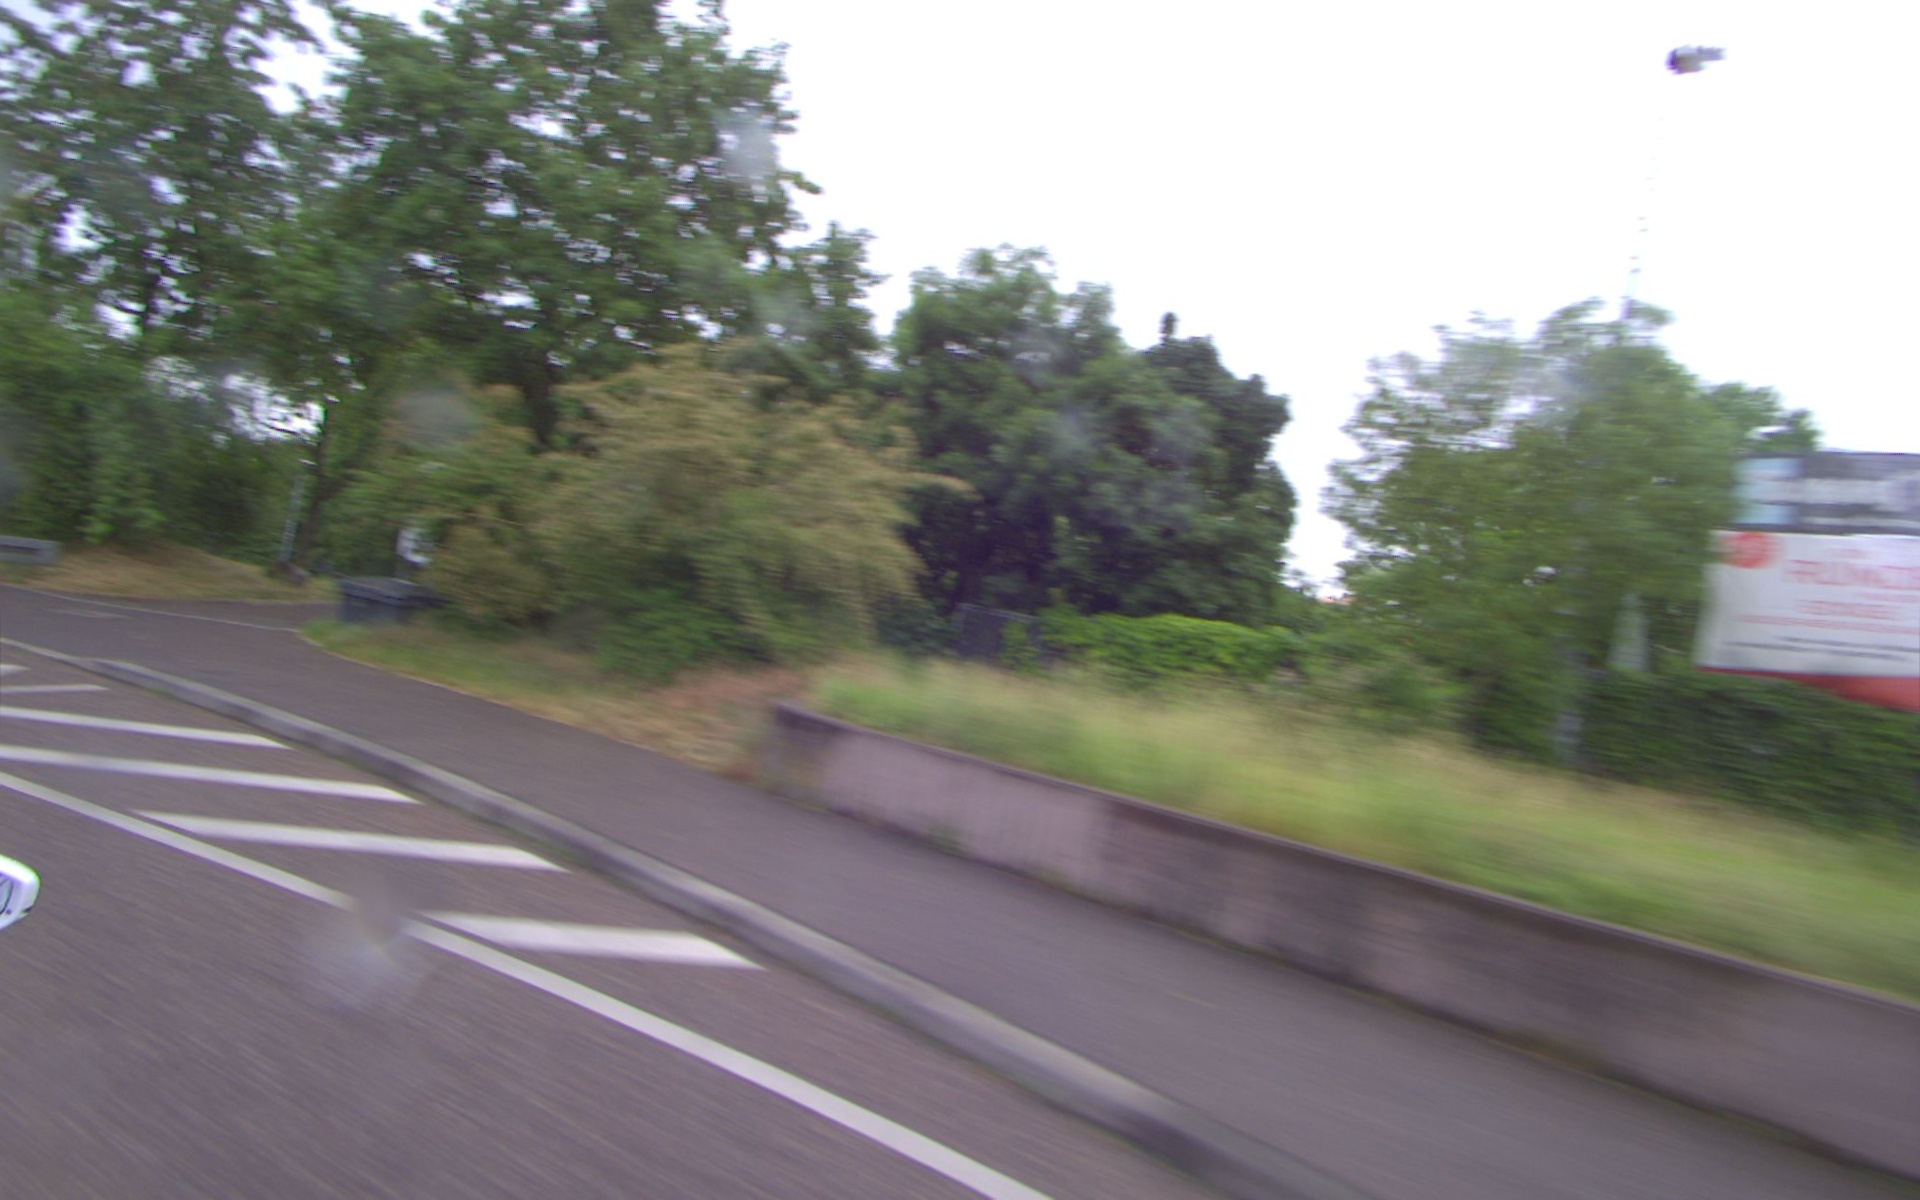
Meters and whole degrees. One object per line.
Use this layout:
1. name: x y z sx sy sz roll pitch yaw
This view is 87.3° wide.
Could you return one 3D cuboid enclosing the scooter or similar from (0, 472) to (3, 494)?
1. scooter or similar: -12.187 -0.974 11.626 1.678 1.298 0.452 8 0 0
